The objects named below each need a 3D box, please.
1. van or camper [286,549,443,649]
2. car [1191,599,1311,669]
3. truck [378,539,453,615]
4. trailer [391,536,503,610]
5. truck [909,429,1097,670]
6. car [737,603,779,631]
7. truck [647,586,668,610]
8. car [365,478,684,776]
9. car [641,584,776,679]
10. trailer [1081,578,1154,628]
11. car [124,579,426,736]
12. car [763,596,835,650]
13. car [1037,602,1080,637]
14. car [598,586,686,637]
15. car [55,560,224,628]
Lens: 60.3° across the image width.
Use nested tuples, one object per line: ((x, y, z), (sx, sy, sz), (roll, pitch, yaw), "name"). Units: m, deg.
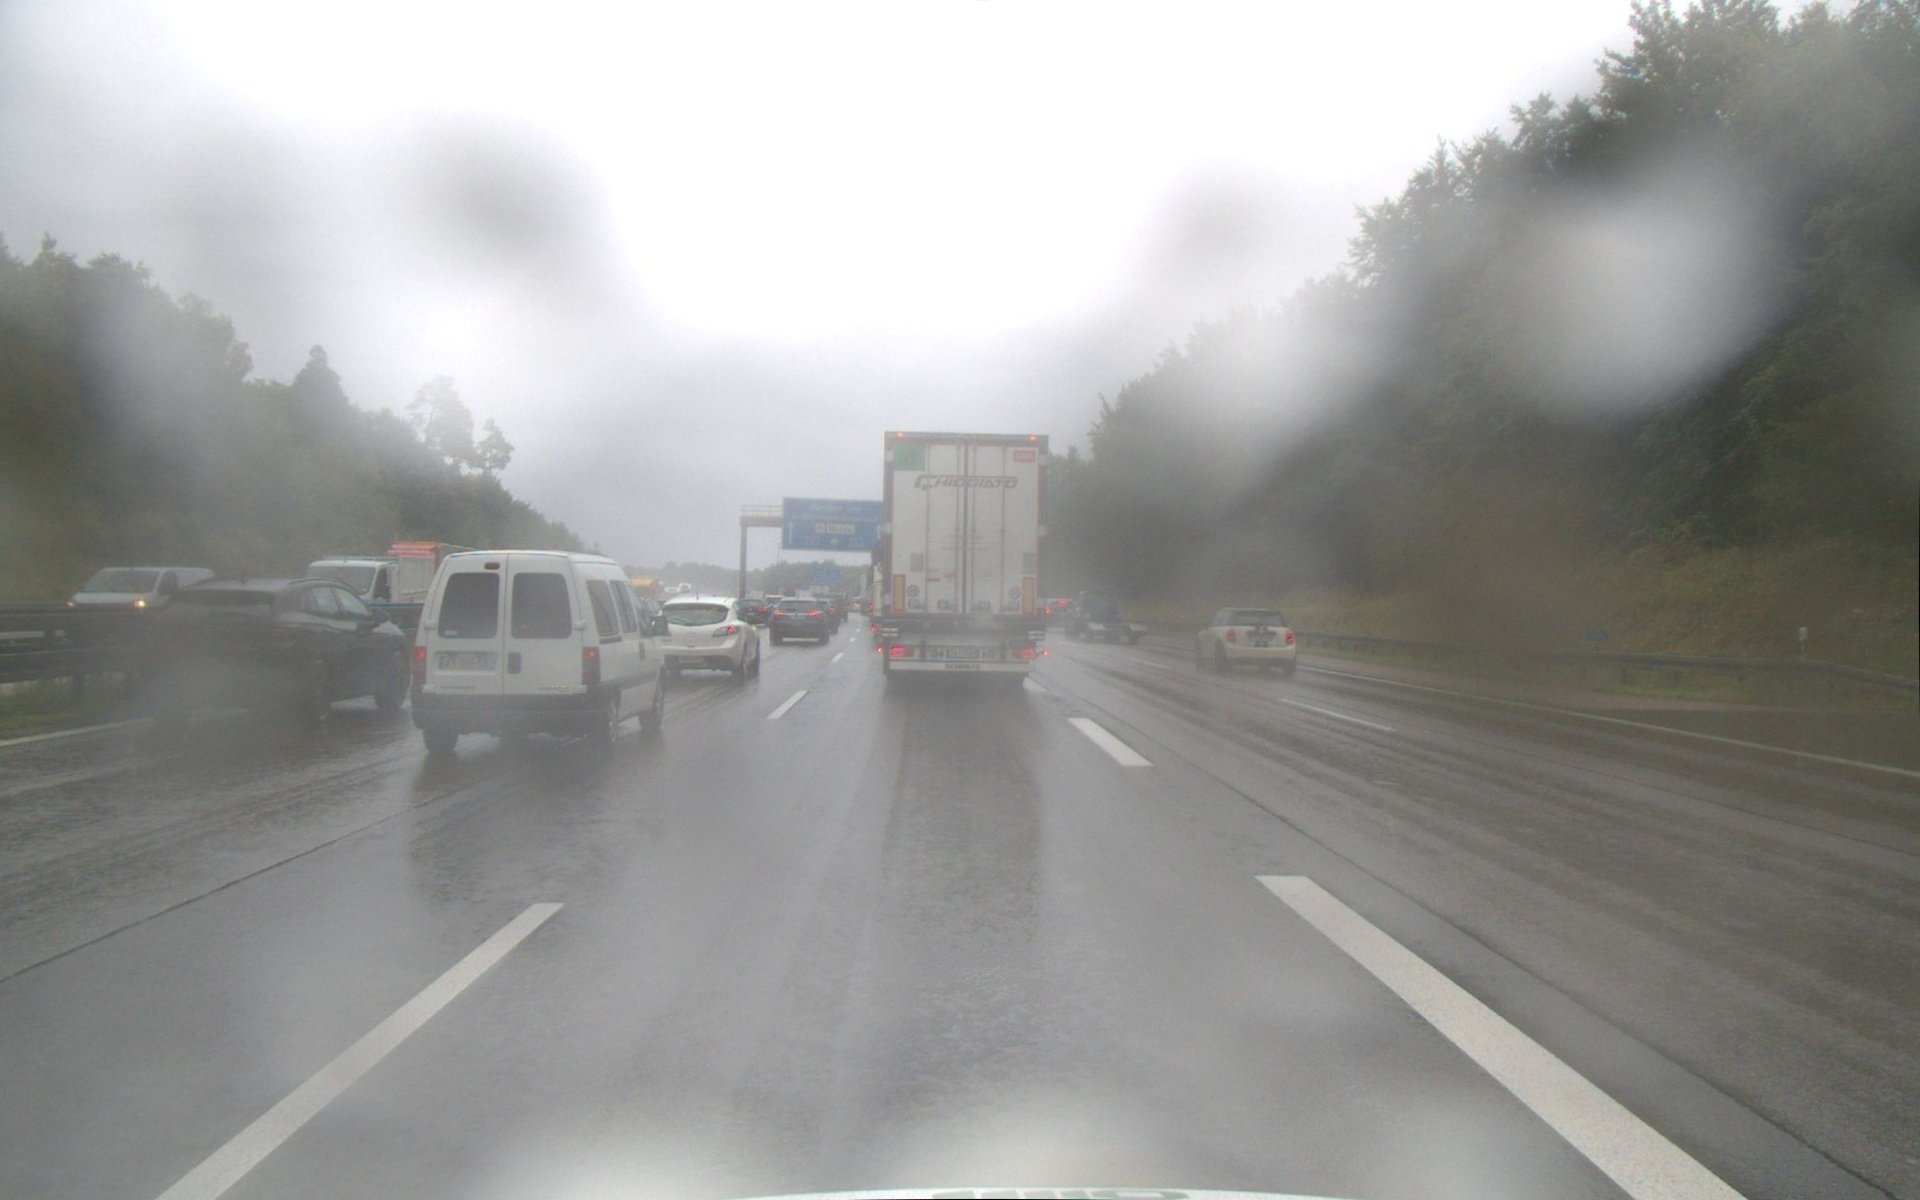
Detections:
((-15.816, -0.034, 44.308), (2.183, 2.465, 5.699), (1, 0, -1), "van or camper")
((6.394, 0.710, 36.764), (1.754, 1.431, 4.226), (1, 0, -2), "car")
((-29.698, -1.210, 90.385), (2.650, 4.023, 4.888), (-1, 0, -3), "truck")
((-29.987, -1.499, 97.386), (2.665, 4.023, 13.954), (-1, 0, -2), "trailer")
((0.647, -0.743, 30.808), (2.813, 3.624, 11.301), (1, 0, 0), "truck")
((-10.479, 0.881, 85.939), (1.809, 1.354, 4.464), (1, 0, -3), "car")
((-47.366, -0.331, 259.253), (2.471, 3.544, 11.703), (1, 0, -7), "truck")
((-4.278, 0.224, 17.188), (2.168, 2.618, 5.013), (1, 0, -3), "car")
((-4.557, 0.529, 30.521), (1.807, 1.619, 4.072), (1, 0, 1), "car")
((5.761, 0.077, 61.067), (2.197, 1.744, 5.082), (1, 0, 0), "trailer")
((-7.921, 0.589, 19.629), (1.808, 1.619, 4.465), (1, 0, -2), "car")
((-5.203, 0.718, 53.891), (1.807, 1.619, 4.467), (1, 0, 1), "car")
((4.853, 0.954, 81.892), (1.948, 1.611, 4.768), (1, 0, 2), "car")
((-8.926, 0.297, 46.760), (1.809, 1.354, 4.464), (1, 0, -3), "car")
((-19.707, -0.156, 39.971), (1.954, 1.533, 4.704), (0, 1, -3), "car")
